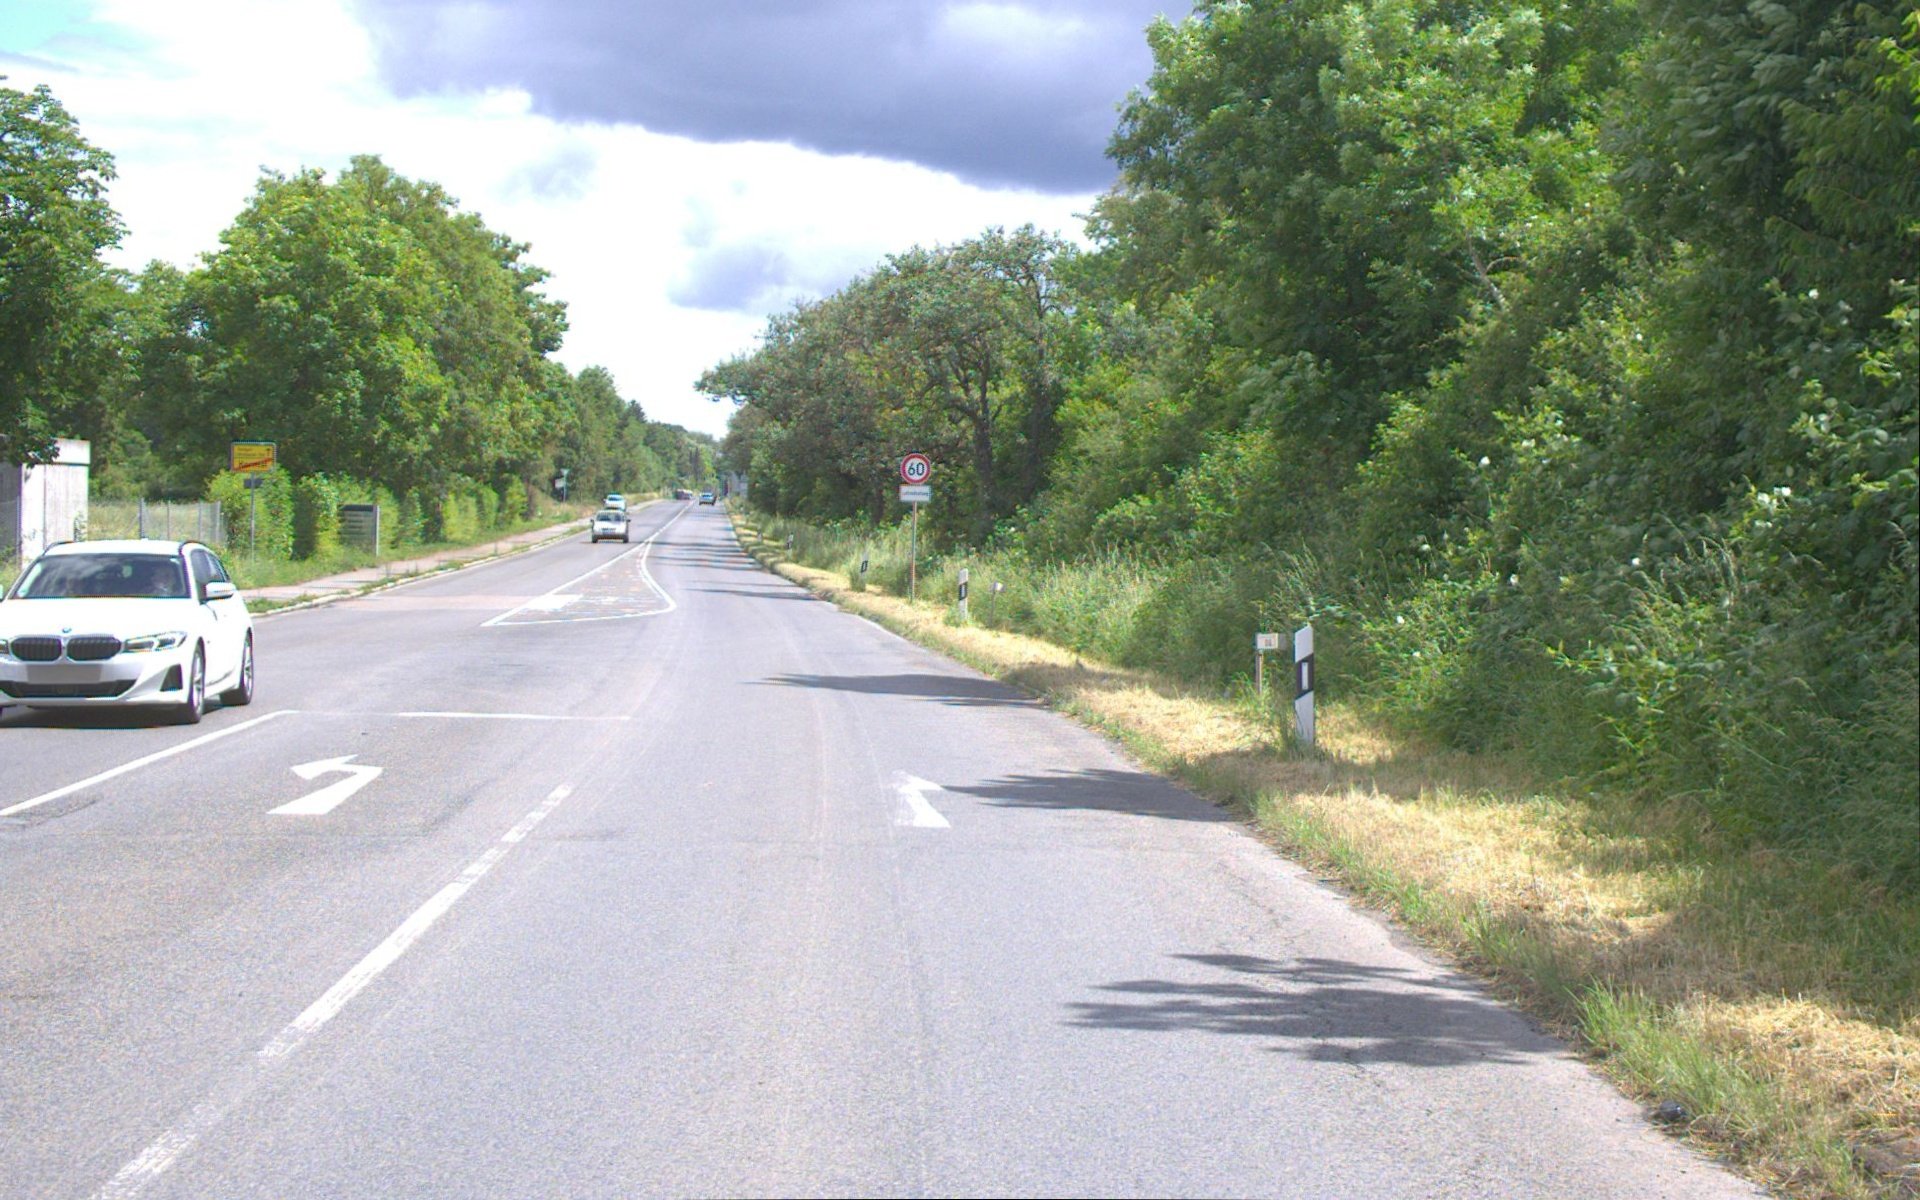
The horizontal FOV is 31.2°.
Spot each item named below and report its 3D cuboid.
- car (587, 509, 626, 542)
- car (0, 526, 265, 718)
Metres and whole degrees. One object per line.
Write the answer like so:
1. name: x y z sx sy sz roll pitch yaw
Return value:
1. car: -15.818 -3.342 154.143 1.660 1.427 3.693 0 2 -5
2. car: -6.985 0.131 28.358 1.993 1.445 4.428 0 1 -5
